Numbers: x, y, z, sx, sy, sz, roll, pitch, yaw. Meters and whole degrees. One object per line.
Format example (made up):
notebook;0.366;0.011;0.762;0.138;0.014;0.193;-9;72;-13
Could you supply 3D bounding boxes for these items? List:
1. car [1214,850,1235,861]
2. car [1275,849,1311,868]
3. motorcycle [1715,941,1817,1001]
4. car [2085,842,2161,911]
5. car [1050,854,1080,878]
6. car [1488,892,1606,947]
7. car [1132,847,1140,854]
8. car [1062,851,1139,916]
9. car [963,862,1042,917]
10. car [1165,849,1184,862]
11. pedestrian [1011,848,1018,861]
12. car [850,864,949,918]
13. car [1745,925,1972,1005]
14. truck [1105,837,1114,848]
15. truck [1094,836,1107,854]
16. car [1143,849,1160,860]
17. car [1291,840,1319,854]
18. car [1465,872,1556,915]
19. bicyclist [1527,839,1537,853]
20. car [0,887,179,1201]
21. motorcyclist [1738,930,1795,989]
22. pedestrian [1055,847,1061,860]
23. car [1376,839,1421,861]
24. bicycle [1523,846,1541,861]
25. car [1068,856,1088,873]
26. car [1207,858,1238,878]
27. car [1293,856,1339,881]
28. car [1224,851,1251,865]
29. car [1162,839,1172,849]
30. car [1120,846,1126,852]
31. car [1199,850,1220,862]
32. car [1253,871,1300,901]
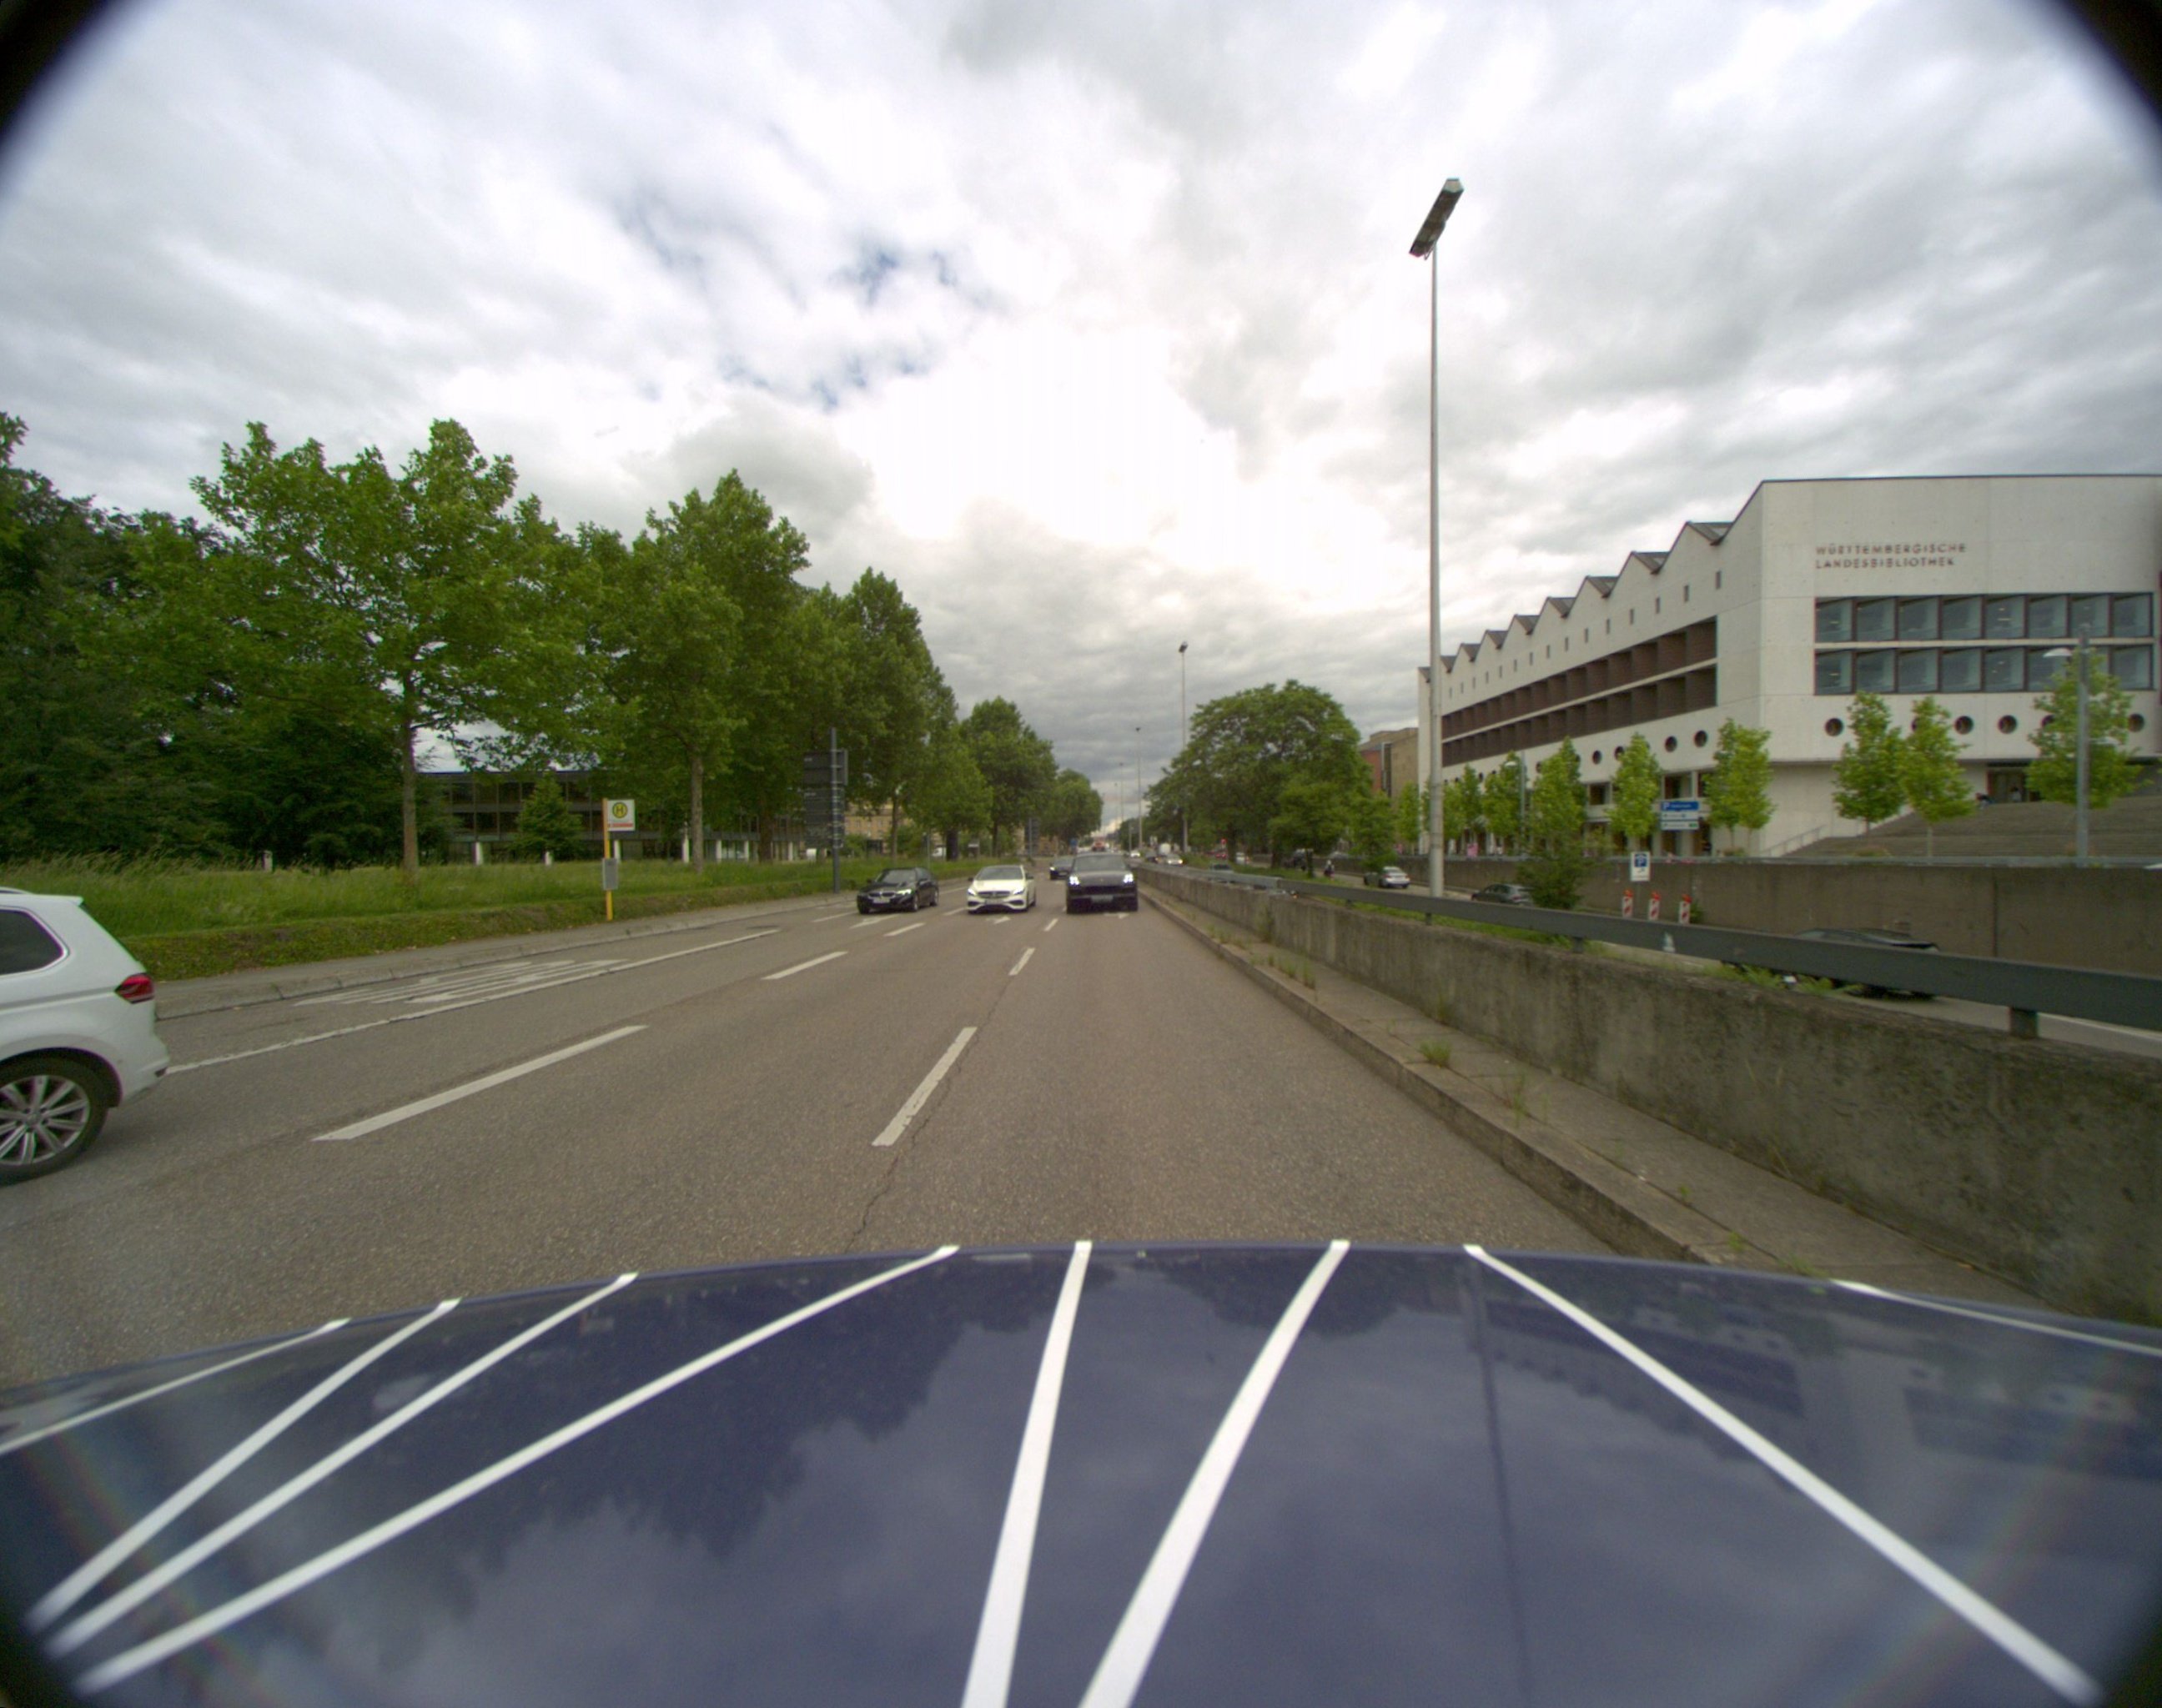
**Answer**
car;19.930;0.209;105.391;1.999;1.390;3.999;2;1;-2
car;20.539;0.433;73.858;2.161;1.636;4.515;1;2;-1
motorcycle;17.413;2.948;19.388;0.687;1.092;2.049;2;3;0
car;28.317;0.607;18.640;1.998;1.753;3.999;2;1;0
car;-1.051;0.807;52.486;1.852;1.481;4.092;-2;1;2
car;17.232;2.379;28.377;1.779;1.481;4.144;0;3;-1
car;10.866;-0.676;150.366;1.372;1.390;3.721;2;1;0
car;0.628;0.759;21.755;1.904;1.581;4.732;-2;1;3
car;-2.361;1.031;23.855;1.799;1.411;4.527;-2;1;2
car;10.489;0.177;85.345;1.657;1.406;4.091;-2;1;0
pedestrian;-10.529;0.117;120.009;0.892;2.002;1.181;-3;1;2
car;-5.945;1.164;25.447;1.936;1.451;4.527;-3;1;3
car;20.284;2.835;20.120;1.810;1.321;4.003;0;3;-1
truck;9.450;-3.817;251.672;2.576;3.288;8.080;-3;1;2
truck;3.962;-1.868;154.097;2.357;3.517;9.424;-3;1;2
car;9.557;0.098;103.020;1.787;1.406;4.091;-2;1;0
car;28.211;-0.866;95.757;1.955;1.619;4.489;-2;1;-3
car;20.728;1.861;36.904;1.874;1.604;4.388;0;3;-1
bicyclist;37.755;-0.676;63.592;0.403;1.154;0.643;-3;1;-1
car;-6.757;1.059;2.663;1.998;1.630;4.304;-2;0;0
motorcyclist;17.421;2.666;19.335;0.671;1.344;0.717;3;3;0
pedestrian;-3.623;-0.056;120.643;0.792;2.001;0.741;-1;-1;2
car;26.038;-0.344;62.384;1.998;1.753;3.999;2;1;0
bicycle;37.784;-0.063;63.621;0.403;1.265;1.698;-3;1;-1
car;-0.279;0.988;73.261;1.805;1.426;4.015;-2;1;2
car;10.769;1.019;57.912;1.559;1.406;4.091;-2;1;0
car;17.533;1.071;56.827;1.998;1.665;4.517;2;1;0
car;16.773;0.369;81.541;1.998;1.390;4.000;2;1;0
car;17.067;-2.032;150.909;1.609;1.844;3.999;-3;1;1
car;9.789;-1.266;177.521;1.372;1.390;3.721;2;1;0
car;16.181;0.232;96.016;1.998;1.390;4.000;2;1;0
car;10.874;1.767;42.498;1.559;1.406;4.091;-2;1;0
